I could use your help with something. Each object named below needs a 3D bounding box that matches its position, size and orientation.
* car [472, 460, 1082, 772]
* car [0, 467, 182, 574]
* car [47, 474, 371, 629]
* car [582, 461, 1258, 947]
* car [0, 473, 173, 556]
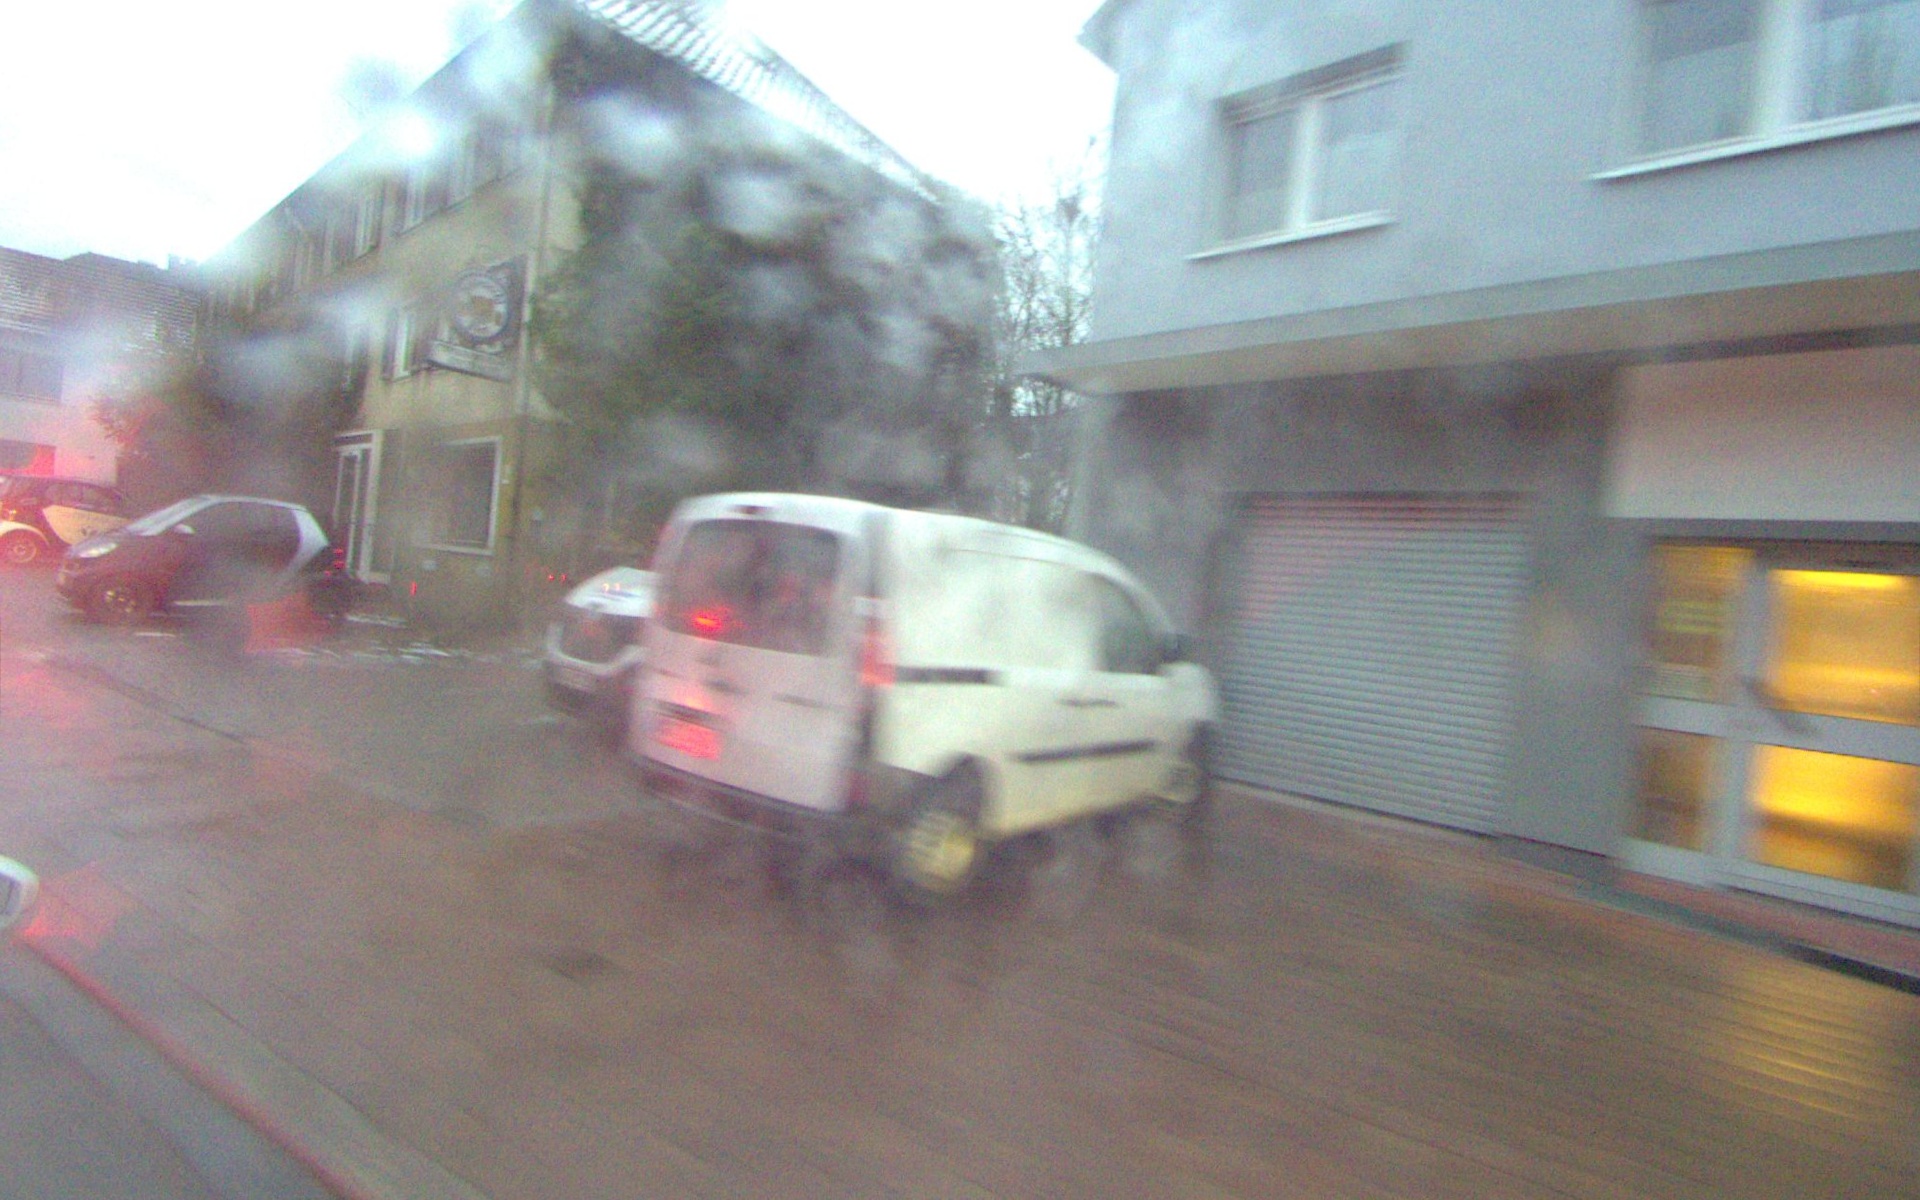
[{"bbox_3d":[-1.224,0.146,8.706,1.909,1.914,4.970,8,3,41],"label":"car"},{"bbox_3d":[-15.674,-1.405,17.907,1.529,1.567,2.578,8,2,40],"label":"car"},{"bbox_3d":[-8.749,-0.523,11.838,1.406,1.493,2.758,7,2,41],"label":"car"},{"bbox_3d":[0.116,0.418,6.049,1.835,1.867,4.039,7,2,36],"label":"car"},{"bbox_3d":[-20.388,-1.973,22.694,1.727,1.493,3.889,7,2,43],"label":"car"}]
